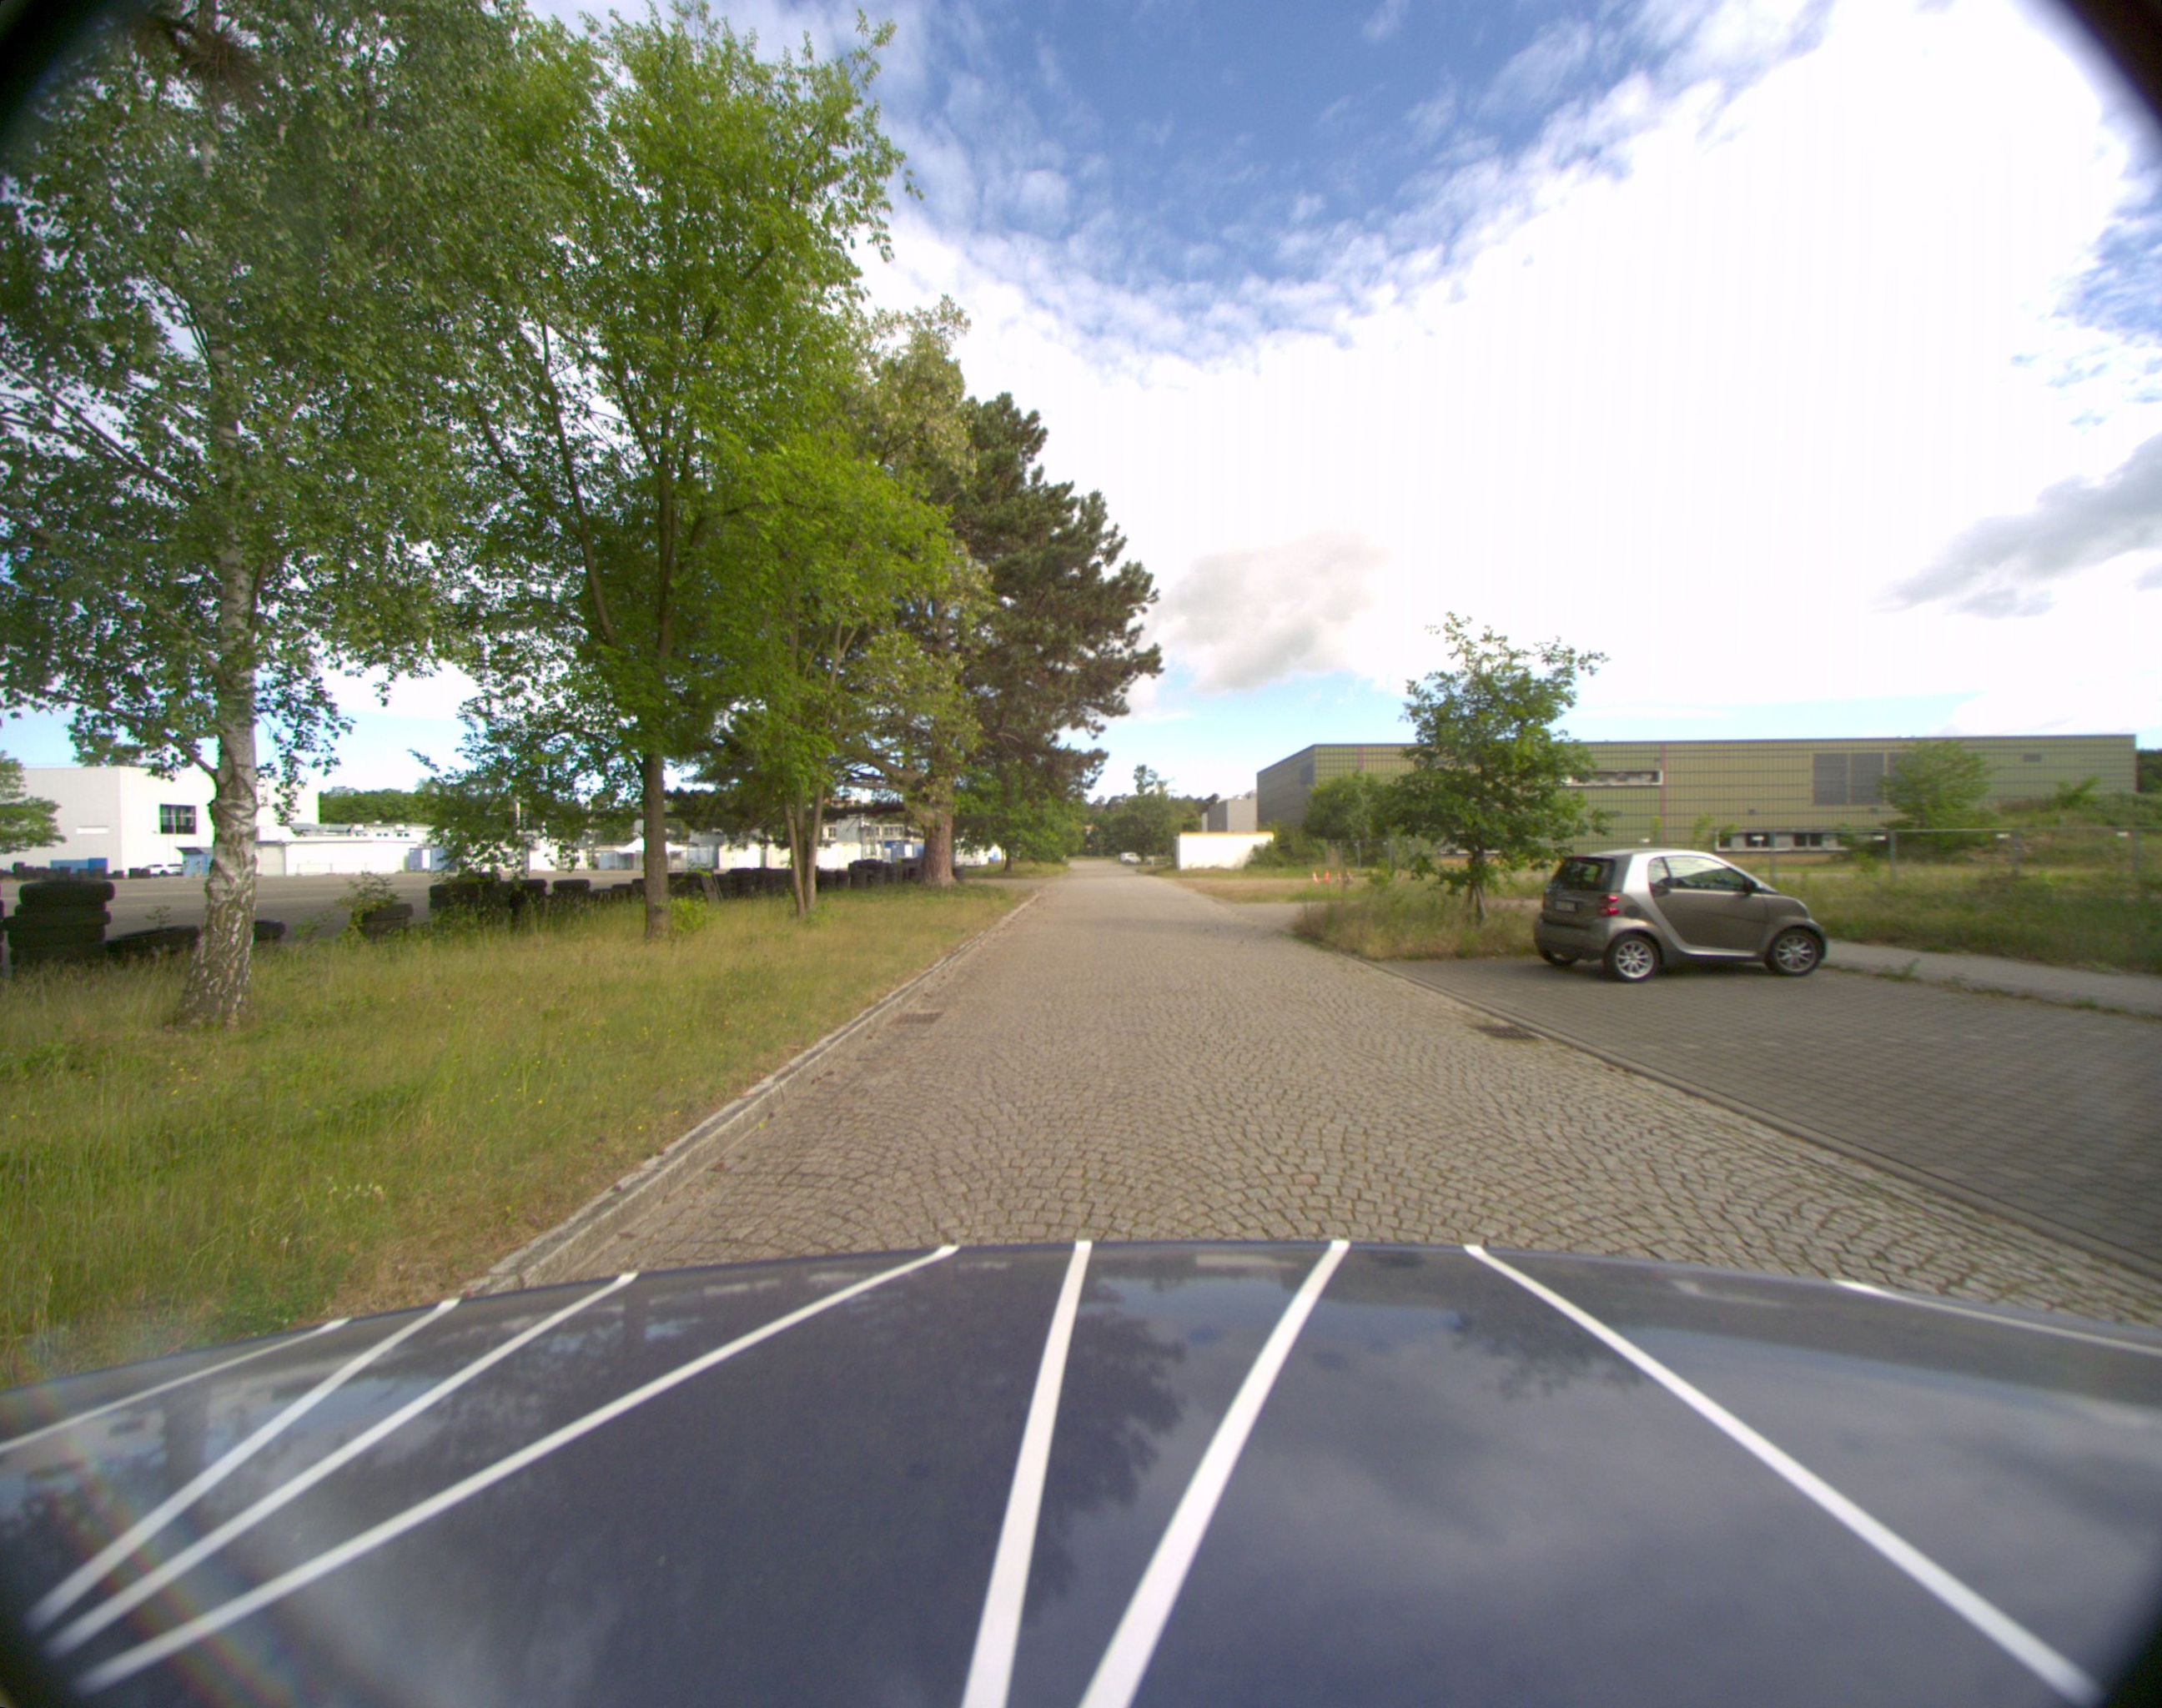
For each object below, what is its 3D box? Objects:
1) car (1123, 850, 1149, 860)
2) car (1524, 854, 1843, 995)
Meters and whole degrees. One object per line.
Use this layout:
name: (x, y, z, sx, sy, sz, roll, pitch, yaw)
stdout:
car: (8.396, 0.133, 116.657, 3.996, 1.604, 1.797, 0, 1, 4)
car: (7.324, 0.806, 9.440, 2.661, 1.502, 1.610, -2, 1, 0)
